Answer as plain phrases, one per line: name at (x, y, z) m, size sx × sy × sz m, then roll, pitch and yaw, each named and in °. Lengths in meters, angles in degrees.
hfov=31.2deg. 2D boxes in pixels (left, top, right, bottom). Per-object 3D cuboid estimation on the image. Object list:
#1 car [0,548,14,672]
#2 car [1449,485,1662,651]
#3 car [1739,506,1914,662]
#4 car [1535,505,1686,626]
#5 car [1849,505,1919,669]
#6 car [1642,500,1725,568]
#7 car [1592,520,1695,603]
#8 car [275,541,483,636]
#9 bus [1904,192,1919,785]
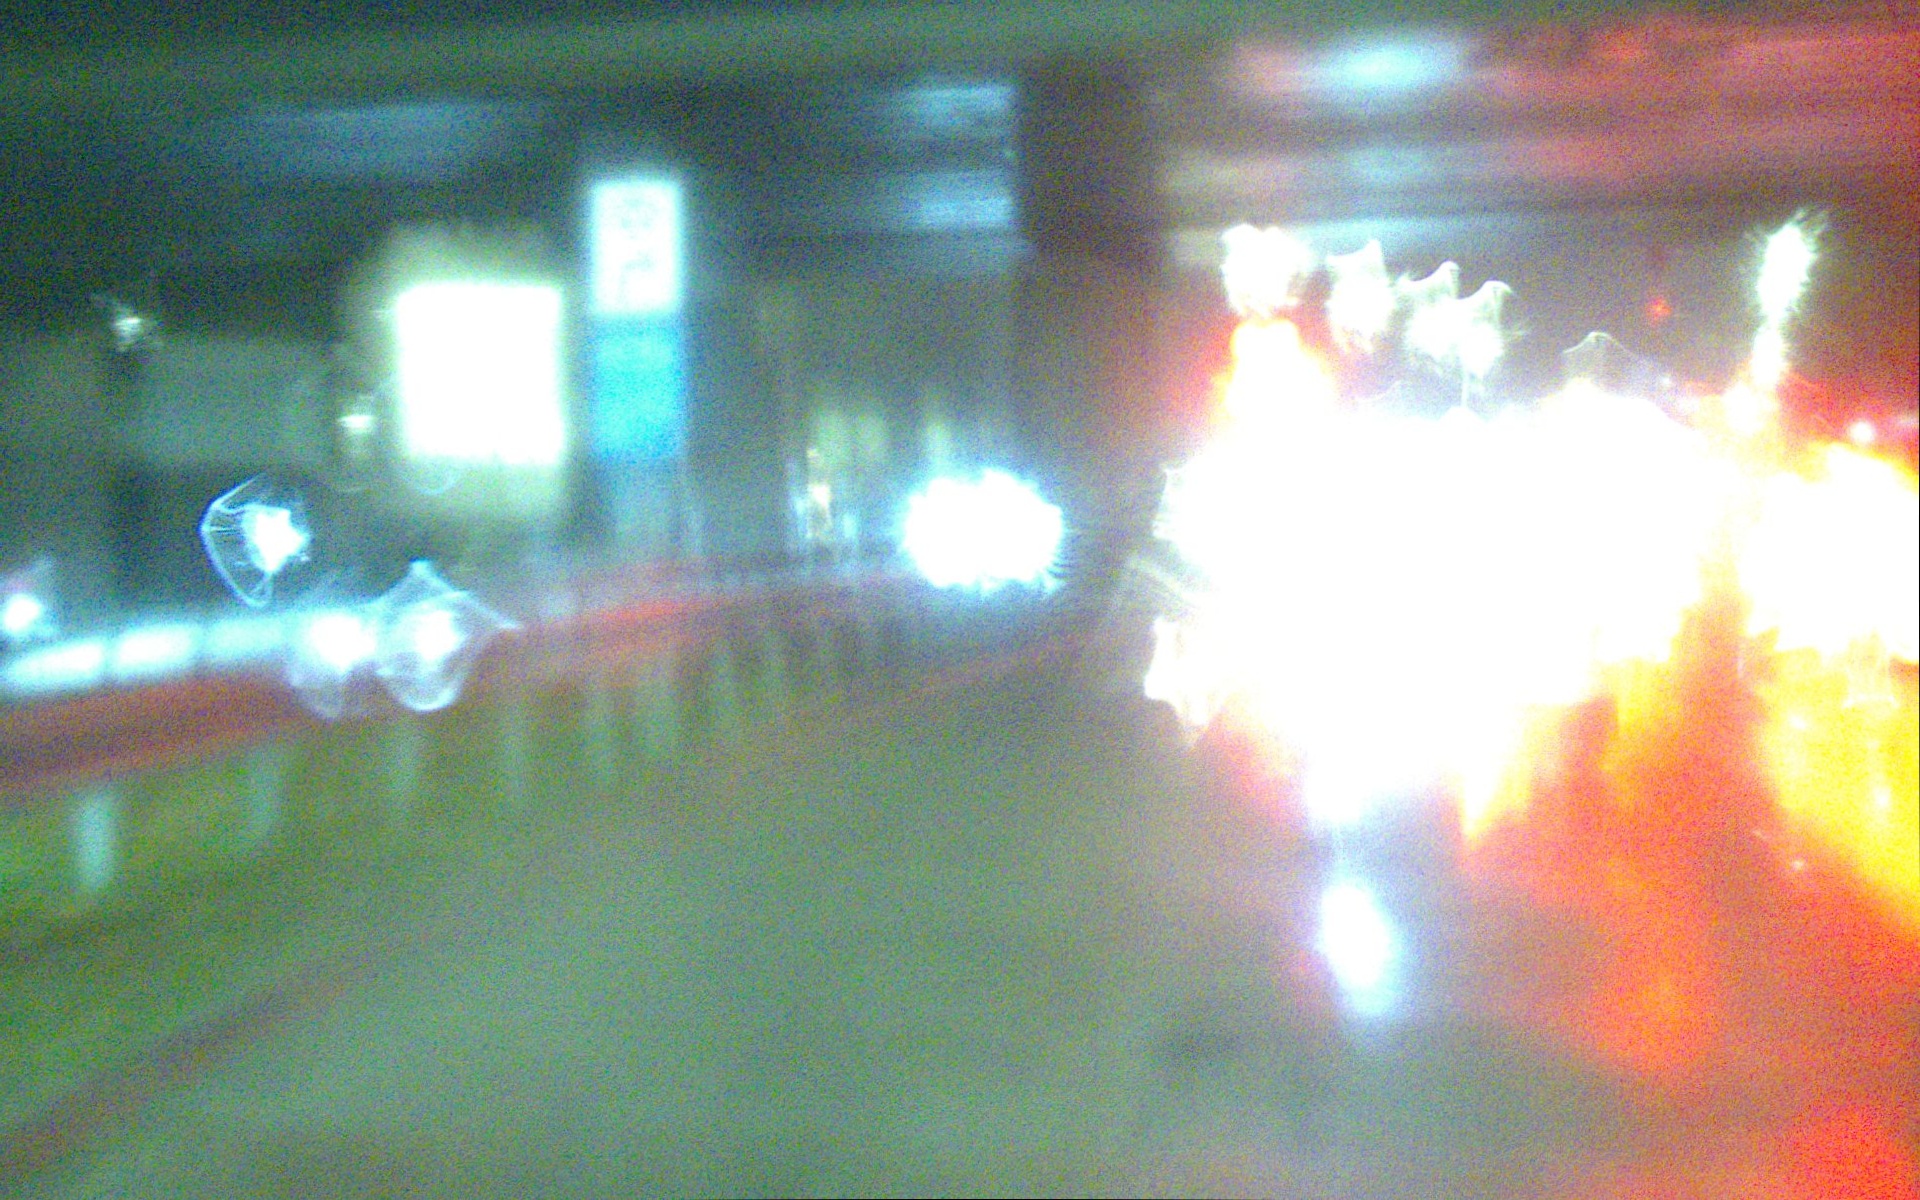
car at (-11.099, 0.164, 34.191) m, size 1.855 × 1.284 × 4.131 m, roll -1°, pitch 2°, yaw 6°
car at (6.424, -0.379, 36.787) m, size 1.789 × 1.678 × 3.997 m, roll 0°, pitch 2°, yaw 16°
car at (10.006, -0.224, 39.522) m, size 1.789 × 1.678 × 3.997 m, roll 0°, pitch 2°, yaw 16°
car at (9.623, -0.536, 50.660) m, size 1.789 × 1.678 × 3.997 m, roll 0°, pitch 2°, yaw 16°
car at (9.692, -0.172, 33.645) m, size 1.777 × 1.496 × 3.997 m, roll 0°, pitch 2°, yaw 16°
car at (18.716, -1.727, 88.857) m, size 1.789 × 1.678 × 3.997 m, roll 0°, pitch 2°, yaw 16°
car at (14.525, -0.838, 72.961) m, size 1.789 × 1.678 × 3.997 m, roll 0°, pitch 2°, yaw 16°
car at (-8.554, -0.198, 50.967) m, size 1.855 × 1.284 × 4.130 m, roll -1°, pitch 2°, yaw 8°
bus at (6.467, -0.472, 14.334) m, size 3.044 × 3.201 × 9.050 m, roll 0°, pitch 2°, yaw 3°
